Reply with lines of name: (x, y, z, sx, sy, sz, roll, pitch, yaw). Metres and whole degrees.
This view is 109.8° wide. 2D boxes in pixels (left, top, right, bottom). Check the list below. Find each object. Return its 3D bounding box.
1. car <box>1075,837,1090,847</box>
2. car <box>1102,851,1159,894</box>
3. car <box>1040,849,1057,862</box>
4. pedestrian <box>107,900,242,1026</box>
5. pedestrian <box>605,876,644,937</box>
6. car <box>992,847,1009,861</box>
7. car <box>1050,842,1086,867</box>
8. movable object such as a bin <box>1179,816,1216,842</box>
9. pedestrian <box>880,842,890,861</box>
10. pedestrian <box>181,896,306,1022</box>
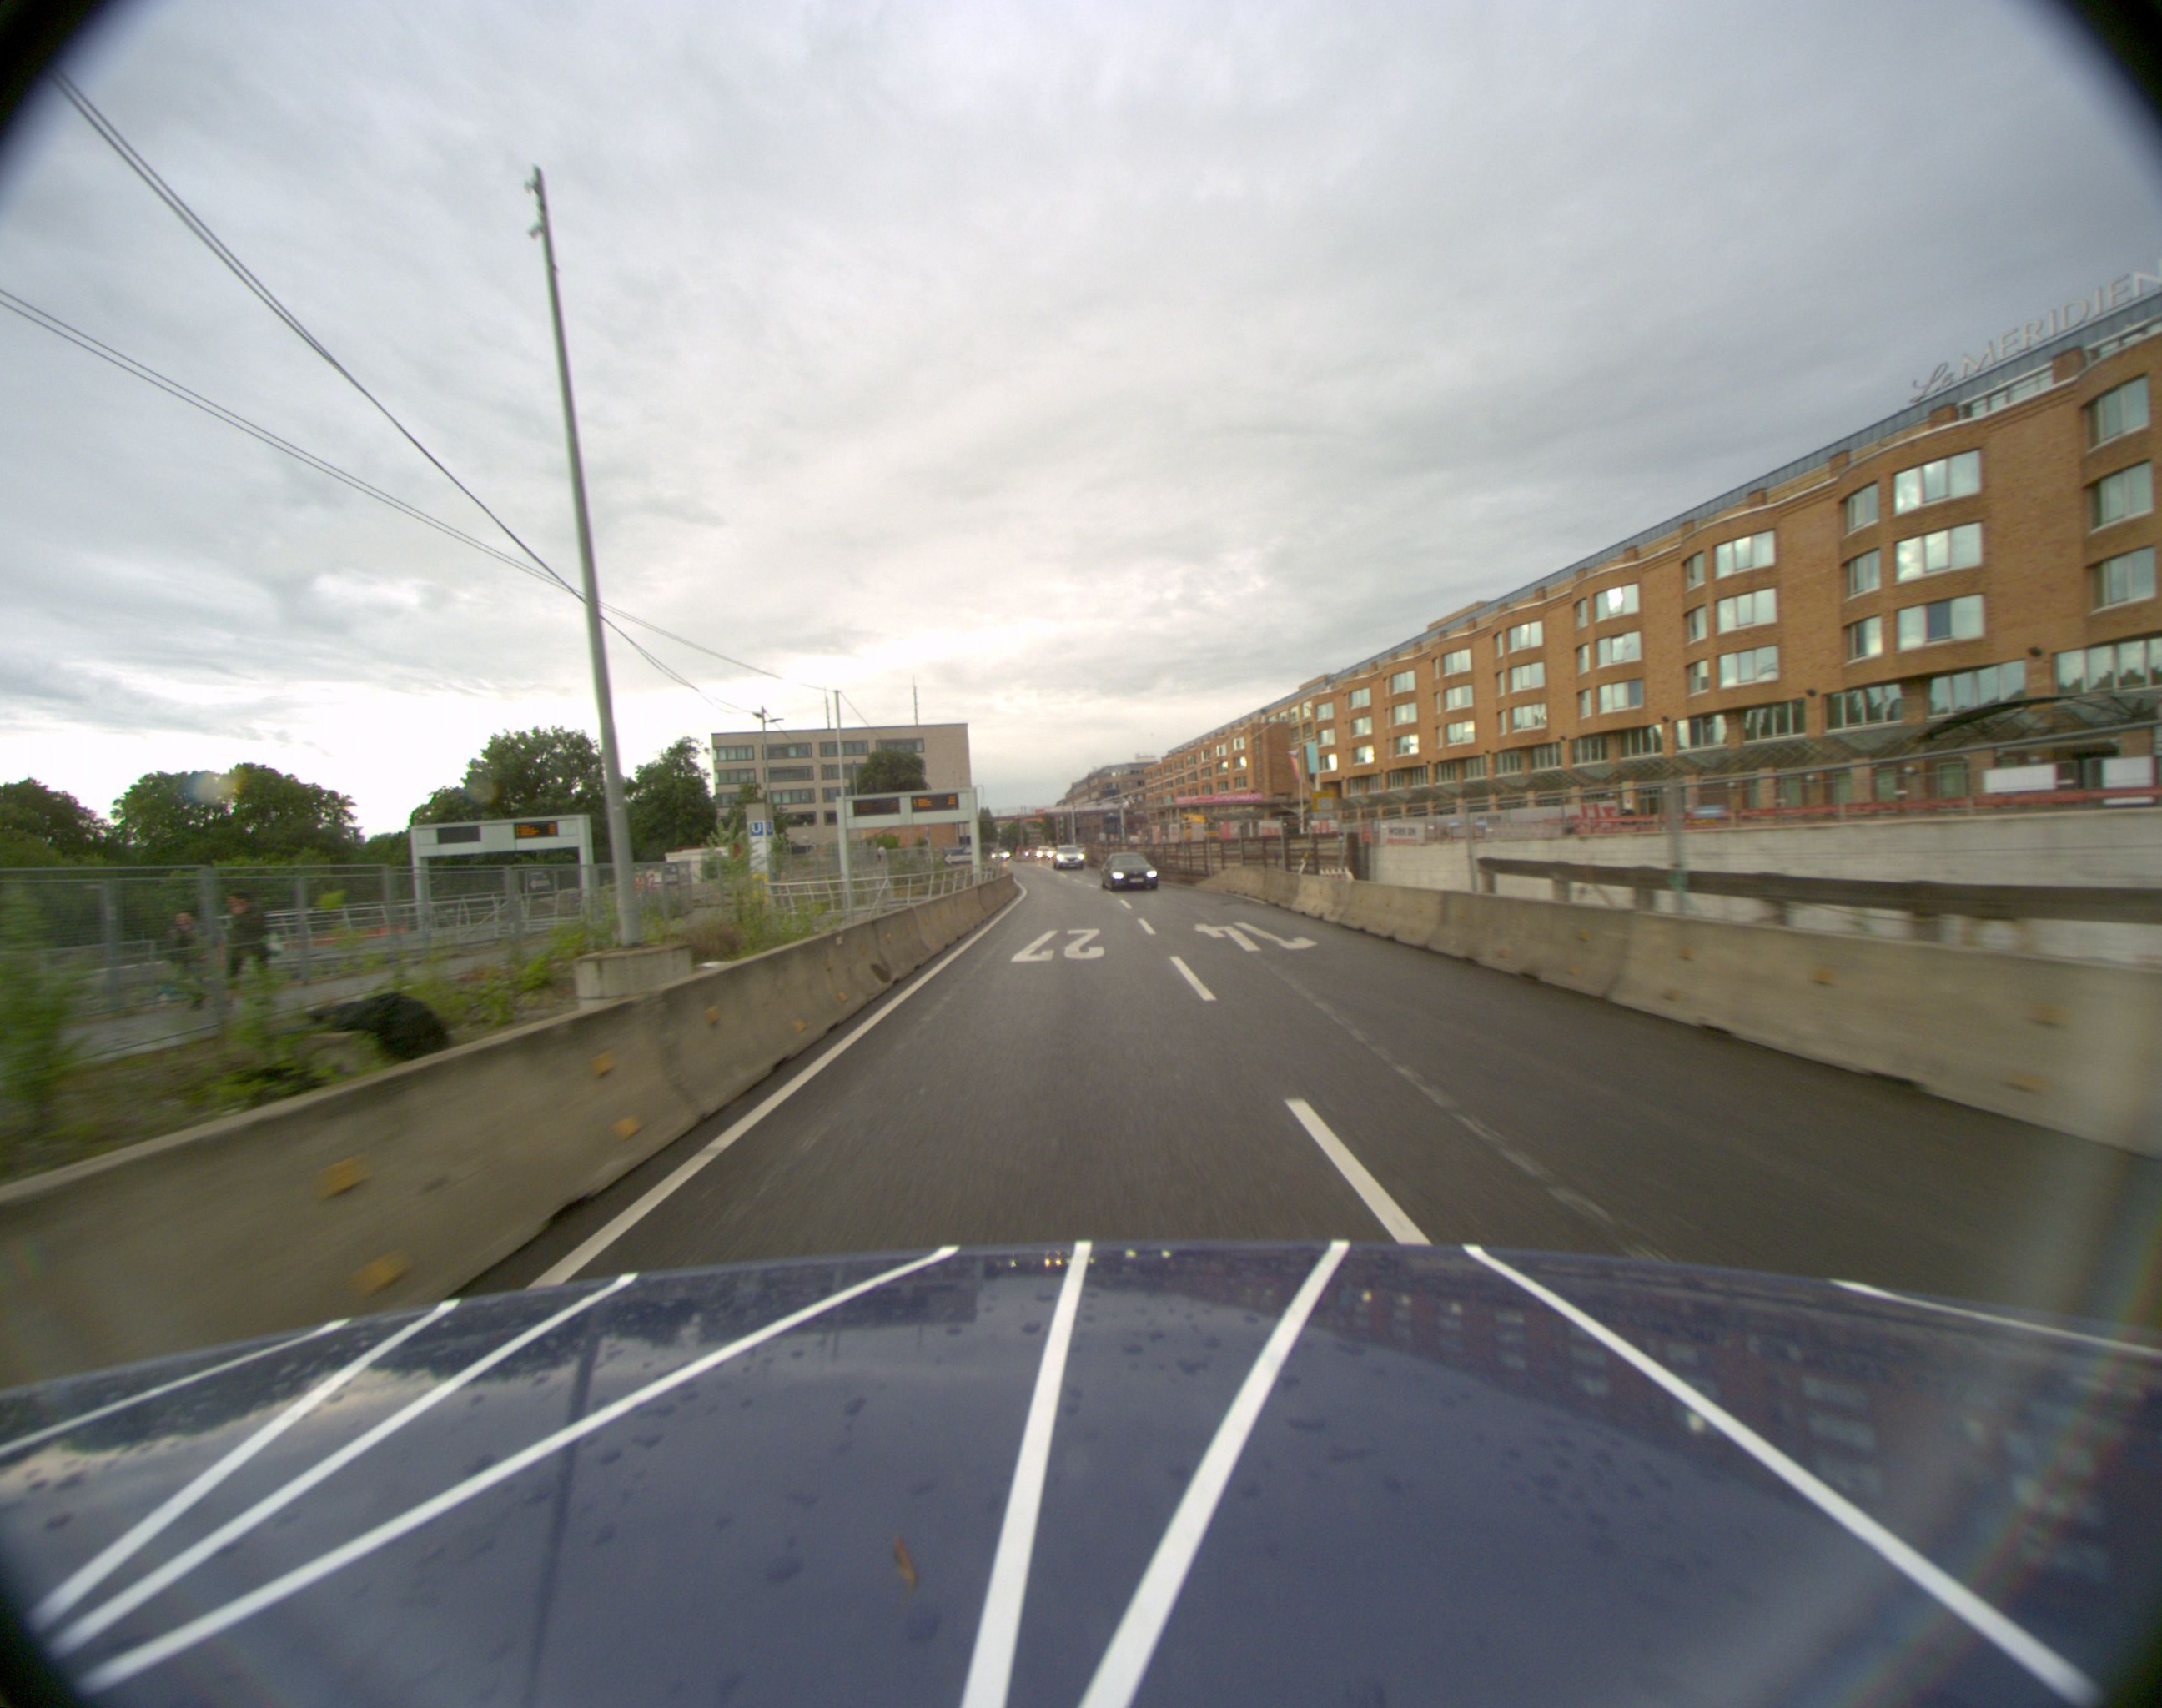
car: (0.238, -2.014, 130.319, 1.753, 1.540, 4.518, -3, 1, -10)
car: (1.866, 0.663, 30.039, 1.772, 1.435, 4.655, -4, 1, -1)
car: (-4.364, 0.206, 100.912, 1.773, 1.525, 4.653, -4, 1, -7)
pedestrian: (-14.063, 1.653, 11.829, 0.728, 1.768, 1.022, -3, 2, -4)
pedestrian: (-13.960, 1.580, 23.248, 0.692, 1.768, 0.814, -3, 2, -11)
car: (-9.806, -0.043, 92.261, 1.773, 1.525, 4.652, -4, 1, -8)
car: (-0.949, 0.036, 53.859, 1.773, 1.525, 4.652, -4, 1, -10)
movable object such as a bin: (10.521, -2.250, 68.761, 2.033, 2.264, 4.288, 0, 1, -11)
pedestrian: (-18.462, -0.224, 71.619, 0.692, 1.768, 0.814, -4, 2, -23)
pedestrian: (-12.996, 1.588, 11.832, 0.692, 1.768, 1.022, -3, 2, -7)
